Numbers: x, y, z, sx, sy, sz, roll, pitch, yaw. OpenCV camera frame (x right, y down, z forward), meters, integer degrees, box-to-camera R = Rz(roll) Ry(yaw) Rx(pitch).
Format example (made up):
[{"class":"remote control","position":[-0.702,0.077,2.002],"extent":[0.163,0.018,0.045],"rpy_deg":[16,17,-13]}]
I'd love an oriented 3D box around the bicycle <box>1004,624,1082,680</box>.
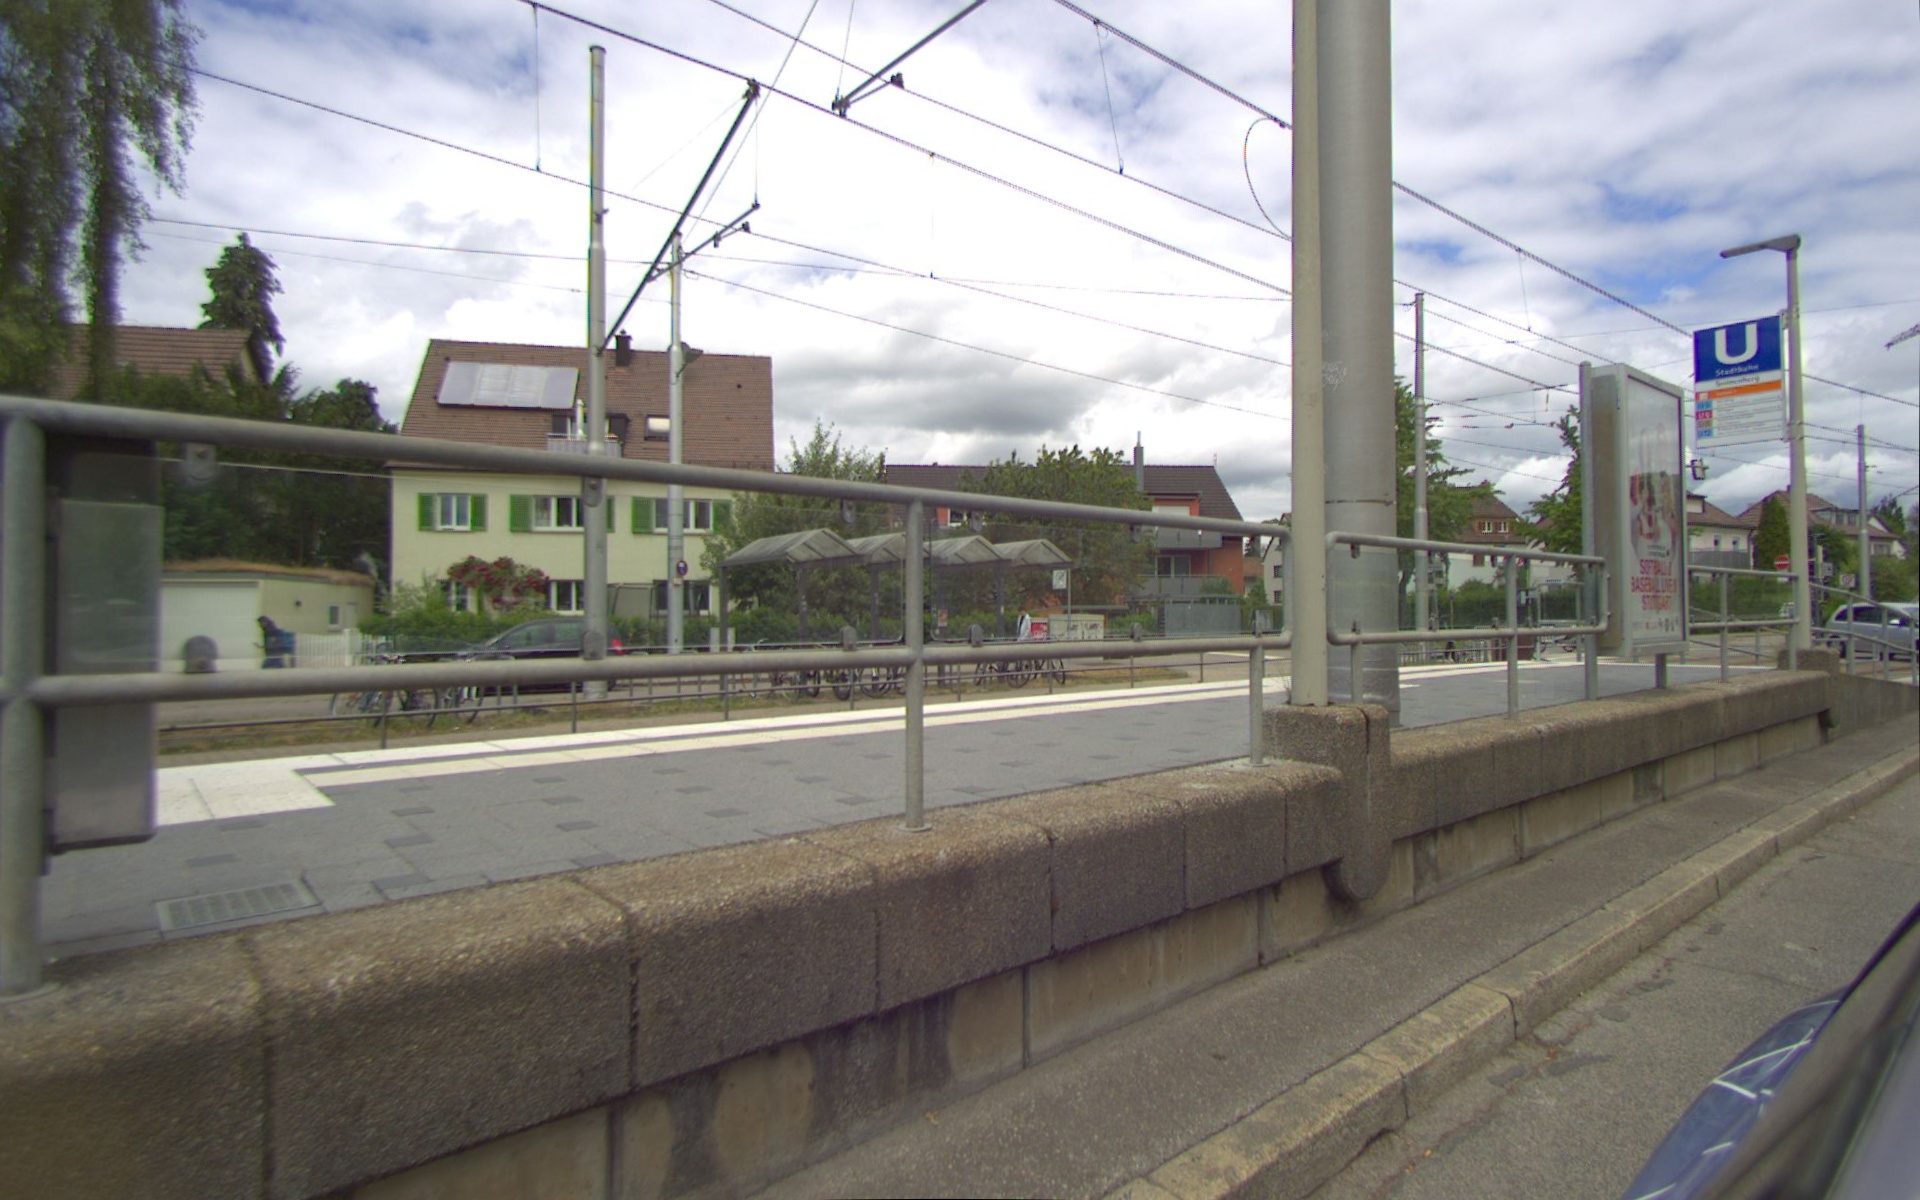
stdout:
[{"class":"bicycle","position":[1.634,1.006,20.105],"extent":[0.546,1.055,1.770],"rpy_deg":[0,-1,-34]}]

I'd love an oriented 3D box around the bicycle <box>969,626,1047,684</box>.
[{"class":"bicycle","position":[0.907,1.035,19.598],"extent":[0.546,1.055,1.770],"rpy_deg":[0,-1,-34]}]

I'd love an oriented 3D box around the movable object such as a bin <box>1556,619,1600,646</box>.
[{"class":"movable object such as a bin","position":[20.291,1.063,33.228],"extent":[1.072,0.835,0.580],"rpy_deg":[-1,-1,-9]}]

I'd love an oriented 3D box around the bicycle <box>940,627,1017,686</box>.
[{"class":"bicycle","position":[0.327,1.045,19.196],"extent":[0.546,1.055,1.770],"rpy_deg":[0,-1,-34]}]

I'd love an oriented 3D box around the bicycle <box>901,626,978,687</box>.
[{"class":"bicycle","position":[-0.405,1.023,18.778],"extent":[0.546,1.055,1.770],"rpy_deg":[0,-1,-34]}]

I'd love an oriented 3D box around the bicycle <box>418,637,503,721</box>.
[{"class":"bicycle","position":[-6.851,1.044,13.849],"extent":[0.548,1.055,1.766],"rpy_deg":[0,-1,-43]}]

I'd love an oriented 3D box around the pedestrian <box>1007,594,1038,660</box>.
[{"class":"pedestrian","position":[1.891,0.816,30.541],"extent":[0.621,1.939,0.821],"rpy_deg":[-1,-2,32]}]

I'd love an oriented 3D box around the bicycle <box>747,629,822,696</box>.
[{"class":"bicycle","position":[-2.965,1.016,16.967],"extent":[0.546,1.055,1.770],"rpy_deg":[0,-1,-34]}]

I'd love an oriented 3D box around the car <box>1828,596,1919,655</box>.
[{"class":"car","position":[26.540,0.678,27.855],"extent":[1.693,1.588,3.929],"rpy_deg":[-1,-1,-4]}]

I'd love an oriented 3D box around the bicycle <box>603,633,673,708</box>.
[{"class":"bicycle","position":[-4.953,1.043,15.517],"extent":[0.546,1.055,1.770],"rpy_deg":[0,-1,-34]}]

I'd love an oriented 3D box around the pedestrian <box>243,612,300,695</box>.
[{"class":"pedestrian","position":[-14.620,1.107,21.489],"extent":[0.932,1.707,0.809],"rpy_deg":[0,-1,-41]}]

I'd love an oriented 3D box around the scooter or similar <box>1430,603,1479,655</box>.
[{"class":"scooter or similar","position":[12.900,0.744,26.429],"extent":[0.480,1.333,1.051],"rpy_deg":[2,-2,-32]}]

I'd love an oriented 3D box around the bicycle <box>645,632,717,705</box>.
[{"class":"bicycle","position":[-4.402,1.047,15.880],"extent":[0.546,1.055,1.770],"rpy_deg":[0,-1,-34]}]

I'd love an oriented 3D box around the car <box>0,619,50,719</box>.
[{"class":"car","position":[-18.451,1.174,16.708],"extent":[4.739,1.657,1.824],"rpy_deg":[0,-1,-25]}]

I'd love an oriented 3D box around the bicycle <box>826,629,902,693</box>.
[{"class":"bicycle","position":[-1.723,1.052,17.905],"extent":[0.546,1.055,1.770],"rpy_deg":[0,-1,-34]}]

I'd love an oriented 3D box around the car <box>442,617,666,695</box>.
[{"class":"car","position":[-8.799,1.146,21.976],"extent":[4.332,1.505,1.823],"rpy_deg":[0,-1,-29]}]

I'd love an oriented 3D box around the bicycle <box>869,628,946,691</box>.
[{"class":"bicycle","position":[-0.977,1.052,18.378],"extent":[0.546,1.055,1.770],"rpy_deg":[0,-1,-34]}]

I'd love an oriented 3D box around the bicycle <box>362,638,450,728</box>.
[{"class":"bicycle","position":[-7.177,1.035,13.078],"extent":[0.548,1.055,1.765],"rpy_deg":[0,-1,-44]}]
